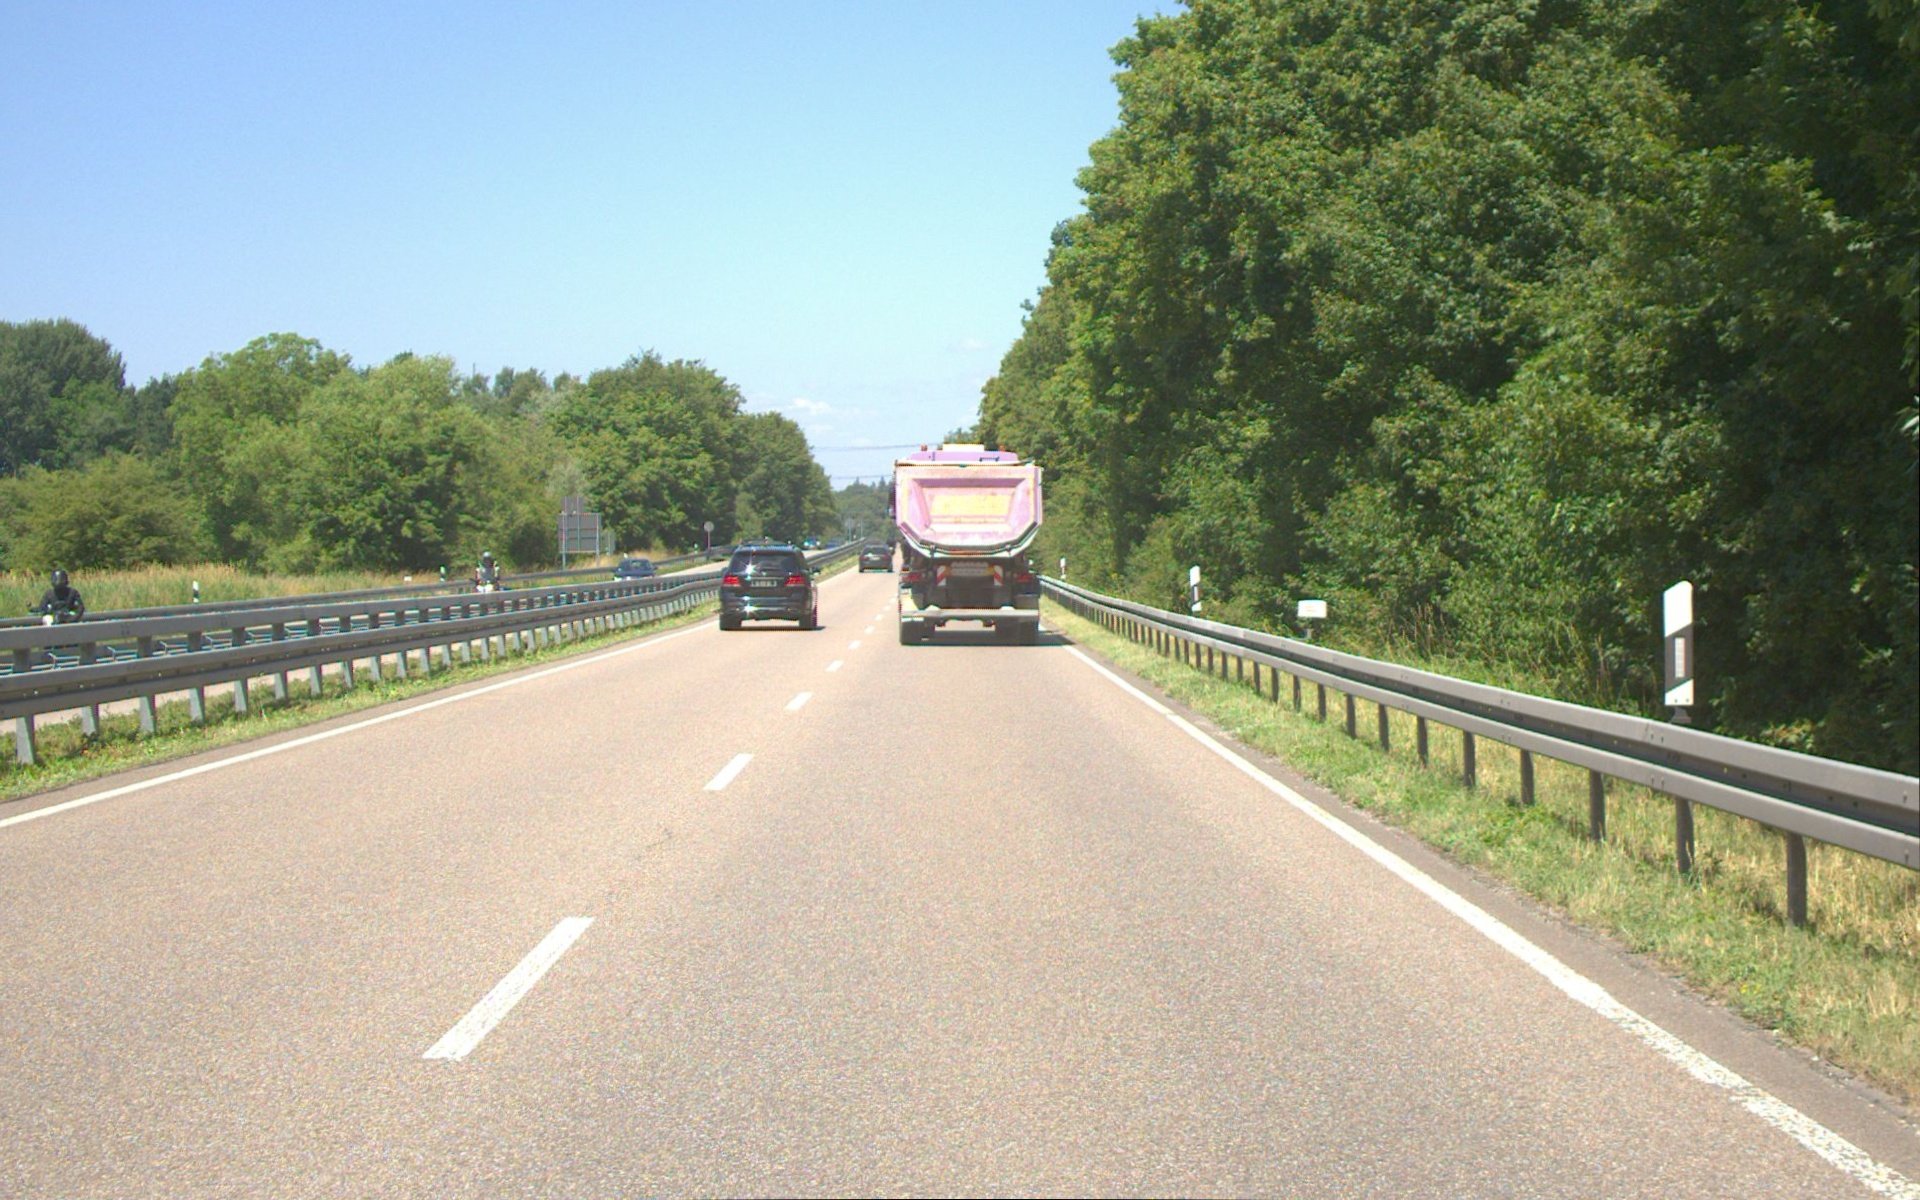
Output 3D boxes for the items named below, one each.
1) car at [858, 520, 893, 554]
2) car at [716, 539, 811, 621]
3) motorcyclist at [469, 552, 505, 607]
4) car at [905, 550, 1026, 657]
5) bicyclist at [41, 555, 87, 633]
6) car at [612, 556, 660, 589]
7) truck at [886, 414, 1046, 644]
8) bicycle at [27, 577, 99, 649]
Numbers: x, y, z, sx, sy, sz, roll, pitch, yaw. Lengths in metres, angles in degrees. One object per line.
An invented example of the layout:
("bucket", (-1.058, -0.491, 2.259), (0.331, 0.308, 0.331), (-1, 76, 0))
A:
("car", (-4.580, -3.402, 186.414), (1.857, 1.712, 4.000), (0, 0, -1))
("car", (-4.121, -0.396, 72.531), (1.857, 1.665, 4.000), (0, 0, -1))
("motorcyclist", (-14.131, -0.619, 102.718), (0.945, 1.611, 0.809), (-1, 1, -1))
("car", (0.061, 0.068, 55.733), (1.857, 1.665, 4.000), (0, 0, -1))
("bicyclist", (-14.782, -0.103, 56.725), (0.613, 1.273, 0.608), (0, 0, 0))
("car", (-13.190, -1.140, 140.189), (1.628, 1.327, 3.535), (0, 1, 0))
("truck", (-0.011, -1.353, 64.893), (2.720, 3.916, 12.371), (0, 1, -1))
("bicycle", (-14.776, 0.201, 56.698), (0.613, 1.153, 2.280), (0, 1, -1))
